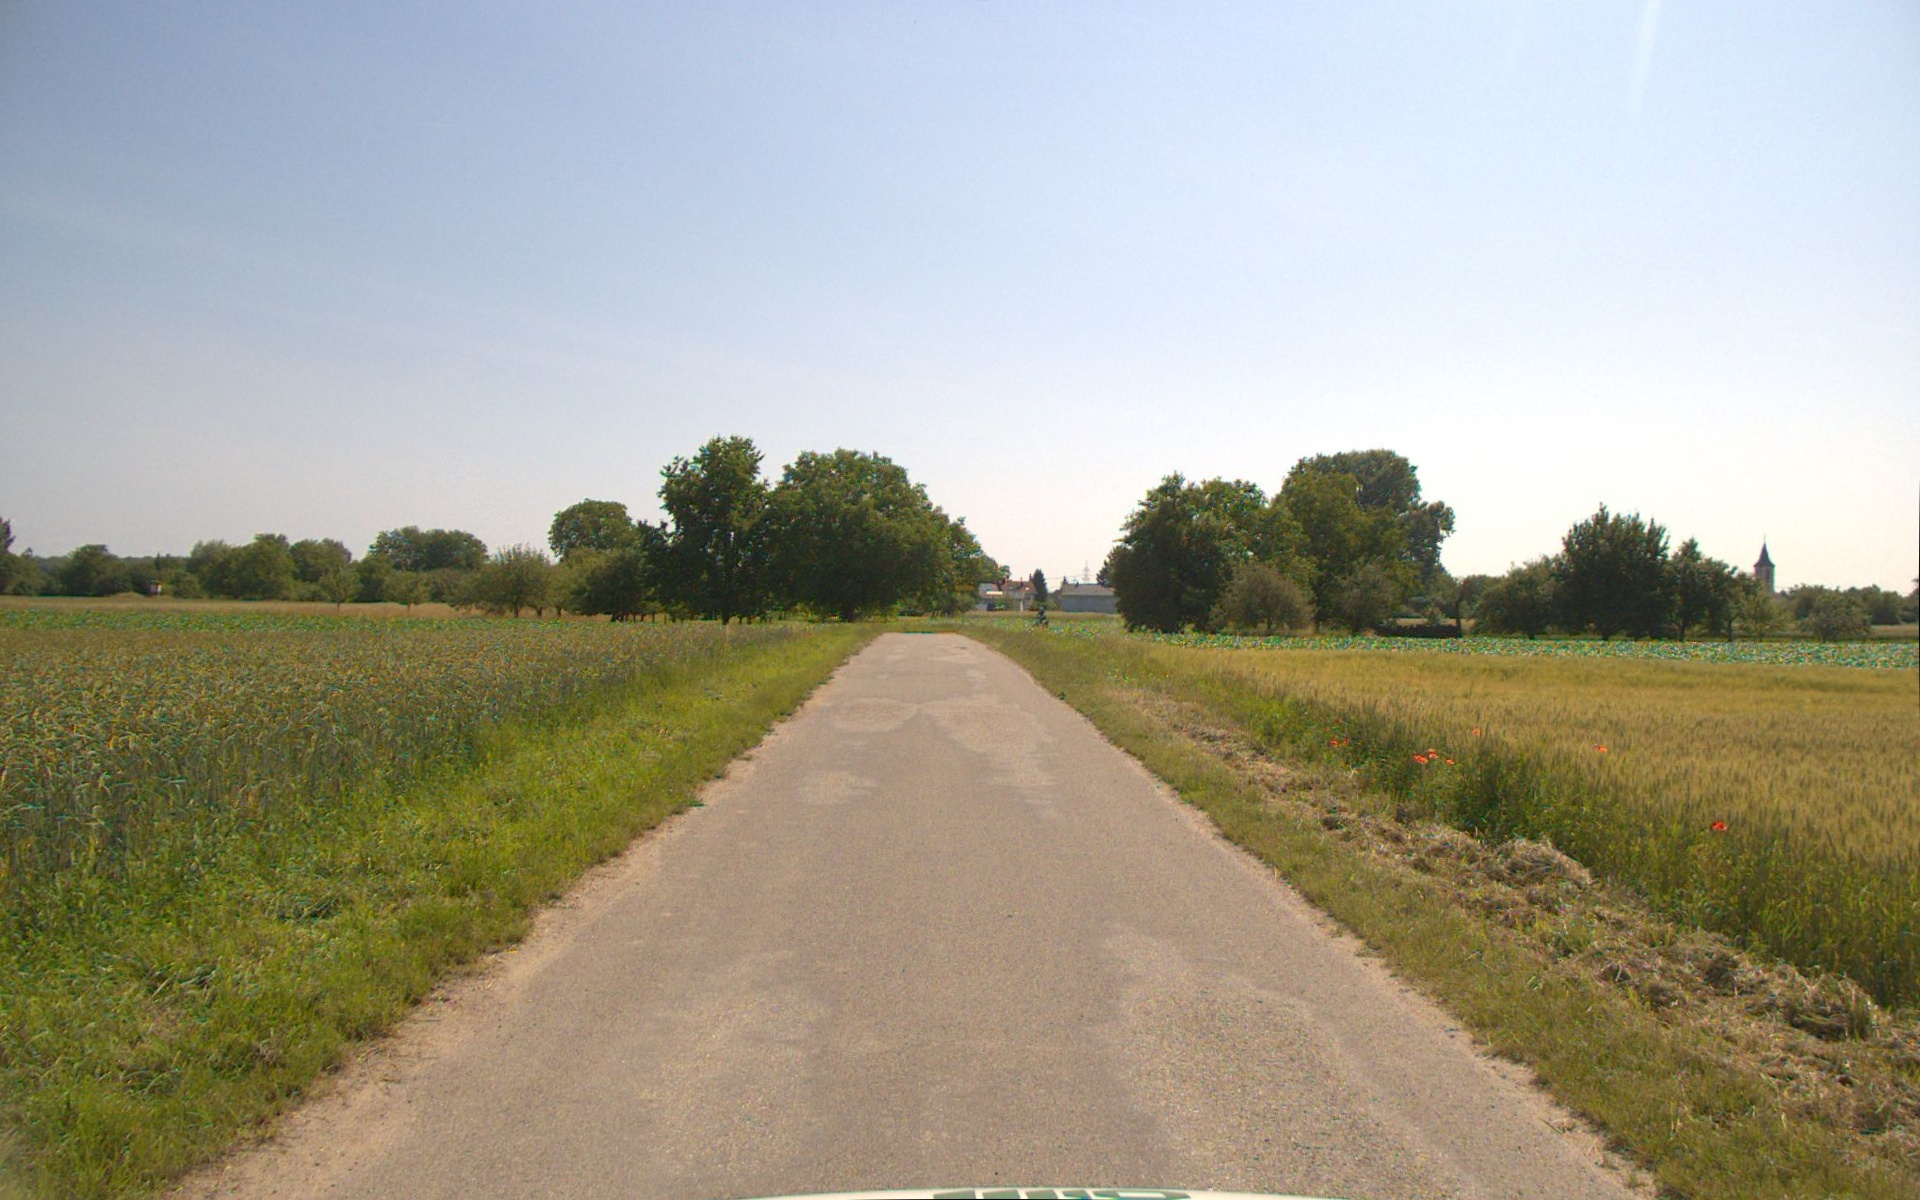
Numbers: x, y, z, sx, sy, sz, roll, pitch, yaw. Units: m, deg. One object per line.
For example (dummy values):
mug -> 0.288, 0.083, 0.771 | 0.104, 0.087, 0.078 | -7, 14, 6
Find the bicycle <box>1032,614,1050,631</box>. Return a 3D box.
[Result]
bicycle -> 5.416, 1.507, 110.486 | 0.735, 1.147, 1.909 | -1, -1, 17

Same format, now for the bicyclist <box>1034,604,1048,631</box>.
bicyclist -> 5.415, 1.170, 110.495 | 0.735, 1.823, 0.717 | -1, -1, 17
